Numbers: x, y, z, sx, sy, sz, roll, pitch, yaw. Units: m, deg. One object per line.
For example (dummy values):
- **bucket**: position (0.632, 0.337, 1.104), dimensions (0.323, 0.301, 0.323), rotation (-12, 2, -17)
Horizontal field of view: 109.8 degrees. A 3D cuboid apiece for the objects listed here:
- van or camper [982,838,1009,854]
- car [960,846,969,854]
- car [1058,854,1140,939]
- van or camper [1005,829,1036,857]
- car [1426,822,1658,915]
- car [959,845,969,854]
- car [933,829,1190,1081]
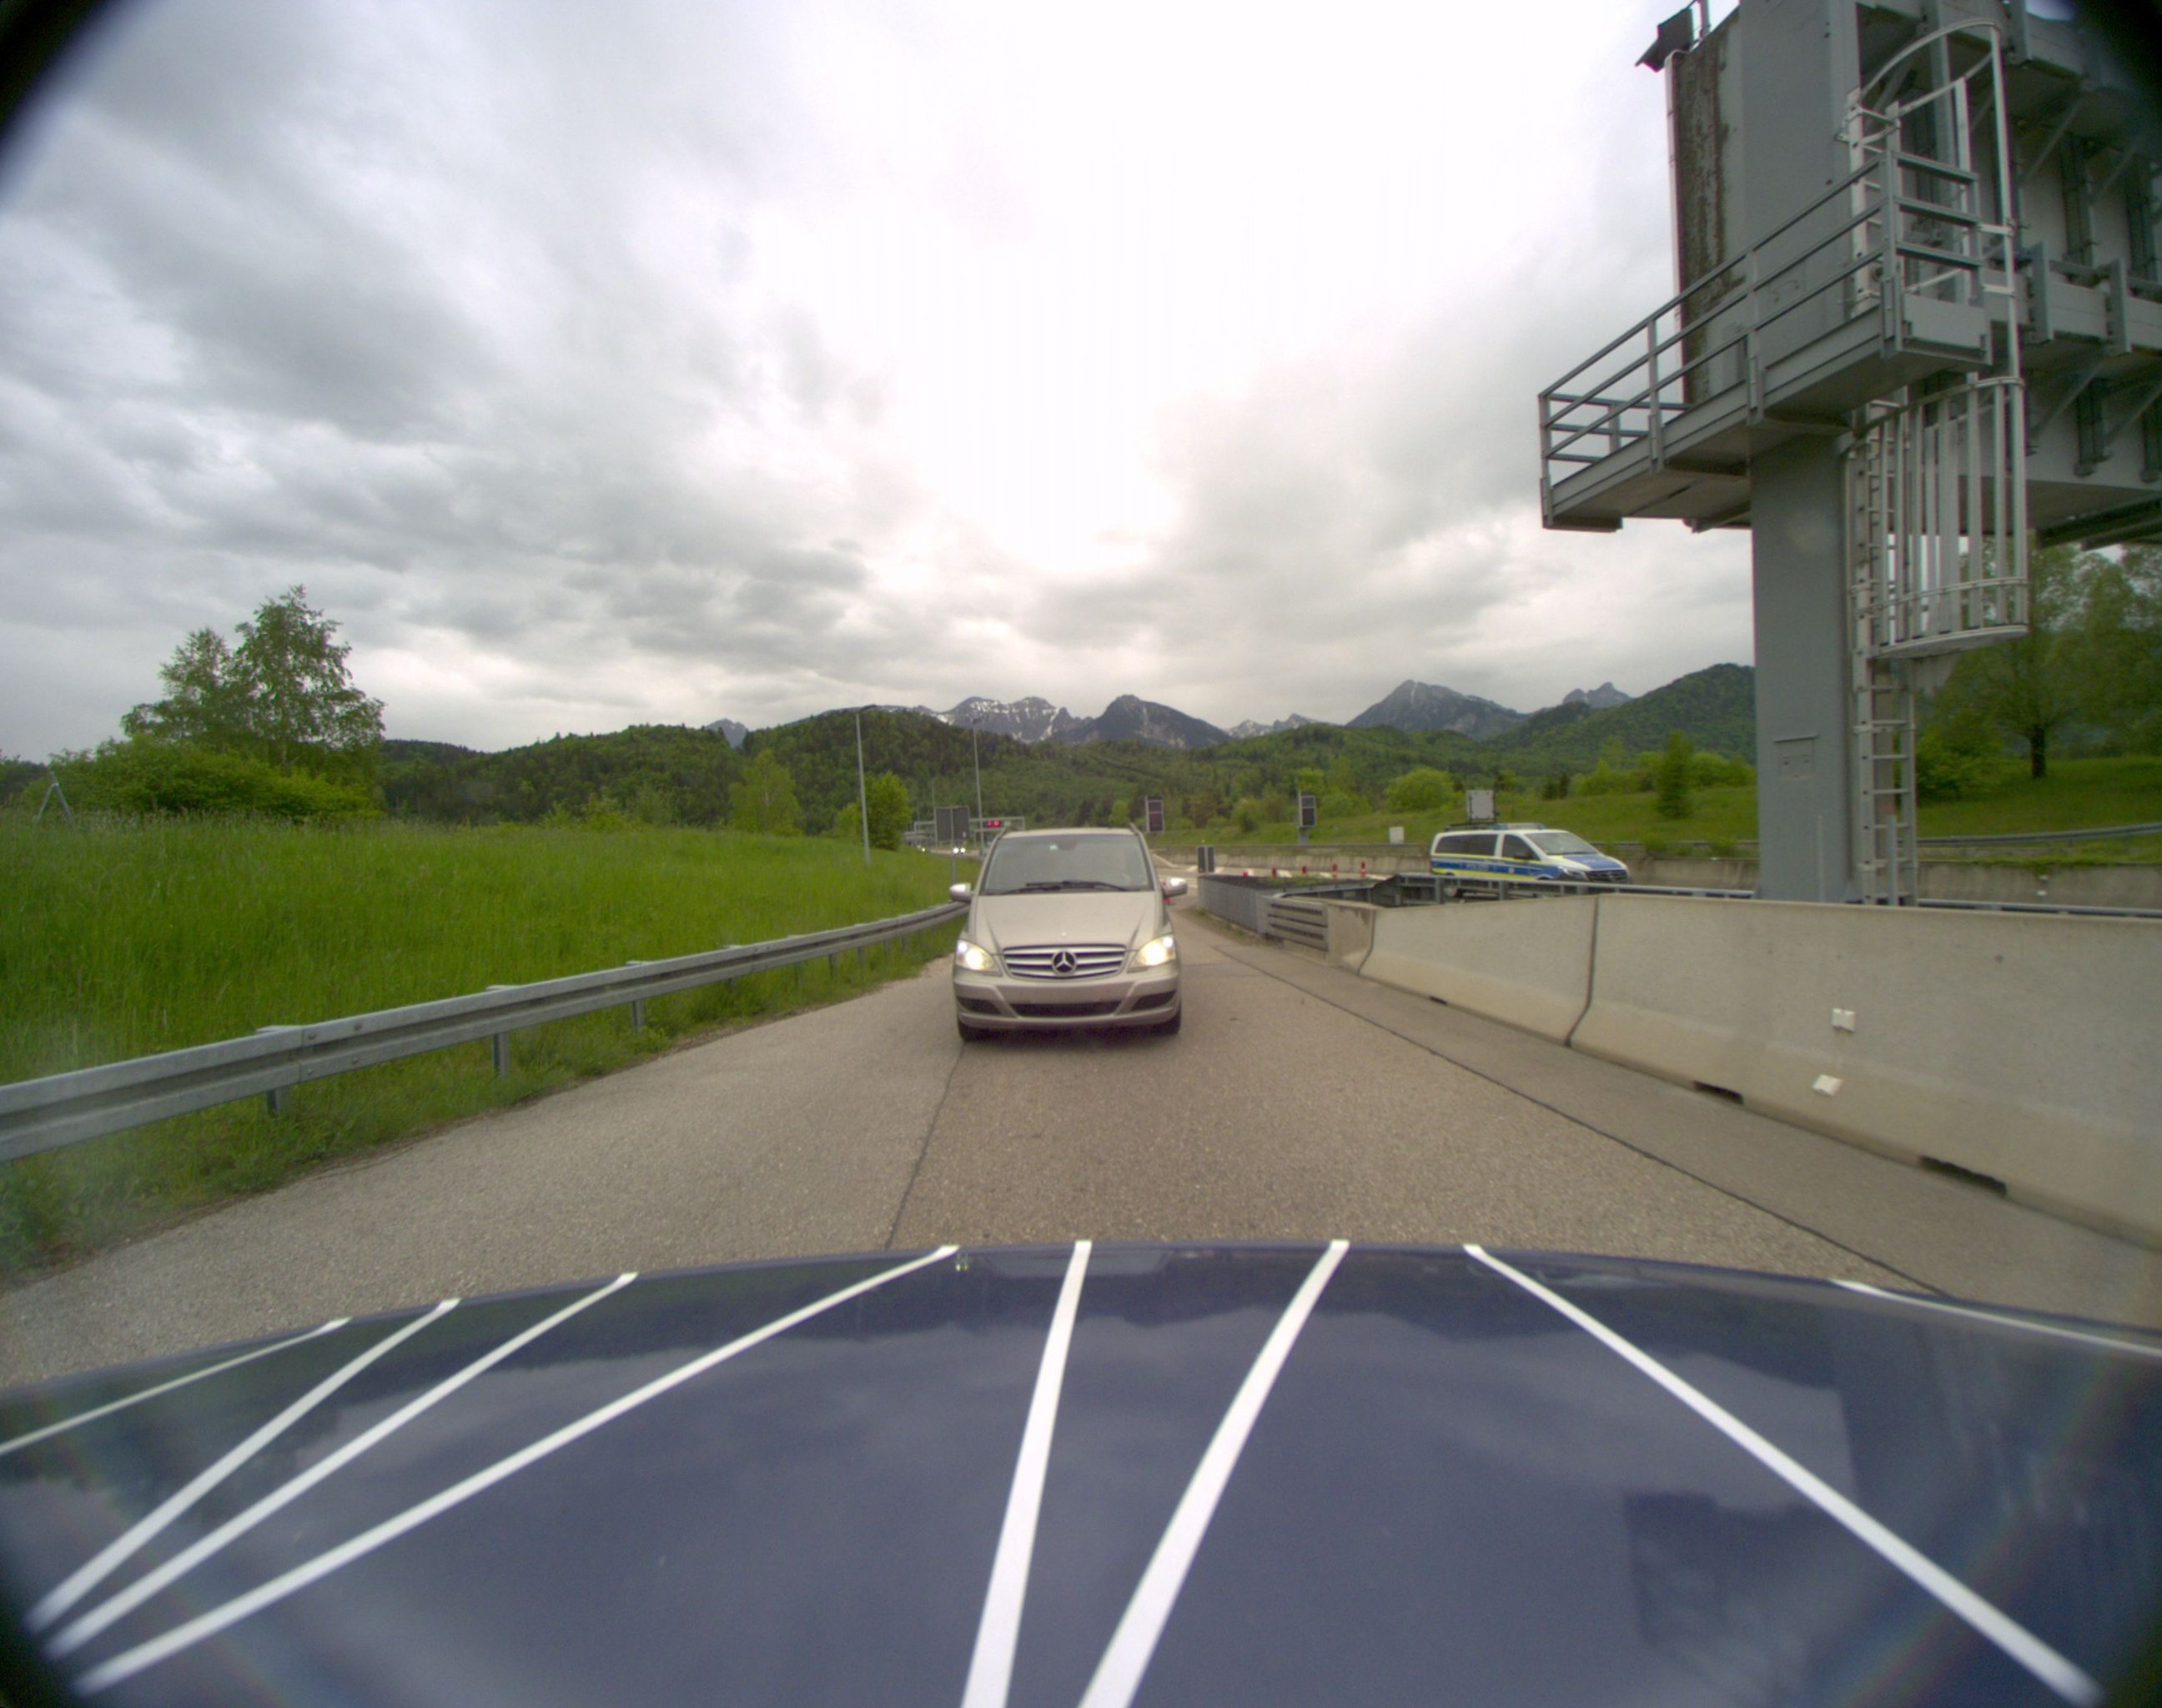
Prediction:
- **van or camper**: position (-14.804, -1.419, 130.706), dimensions (3.345, 2.629, 8.189), rotation (-1, 1, -15)
- **car**: position (-26.573, -0.923, 173.457), dimensions (1.722, 1.629, 4.343), rotation (-1, 1, -13)
- **car**: position (0.403, 0.849, 17.214), dimensions (1.591, 1.662, 4.000), rotation (-1, 0, 1)
- **van or camper**: position (-7.583, -1.358, 94.776), dimensions (2.585, 3.372, 7.345), rotation (-2, 1, -14)
- **car**: position (11.327, 0.281, 19.216), dimensions (2.106, 2.002, 5.045), rotation (-2, 1, -13)
- **car**: position (-26.494, -1.031, 171.949), dimensions (1.868, 1.861, 3.995), rotation (-1, 1, -13)
- **car**: position (-0.106, 0.712, 8.417), dimensions (1.862, 1.833, 5.616), rotation (-1, 1, 1)
